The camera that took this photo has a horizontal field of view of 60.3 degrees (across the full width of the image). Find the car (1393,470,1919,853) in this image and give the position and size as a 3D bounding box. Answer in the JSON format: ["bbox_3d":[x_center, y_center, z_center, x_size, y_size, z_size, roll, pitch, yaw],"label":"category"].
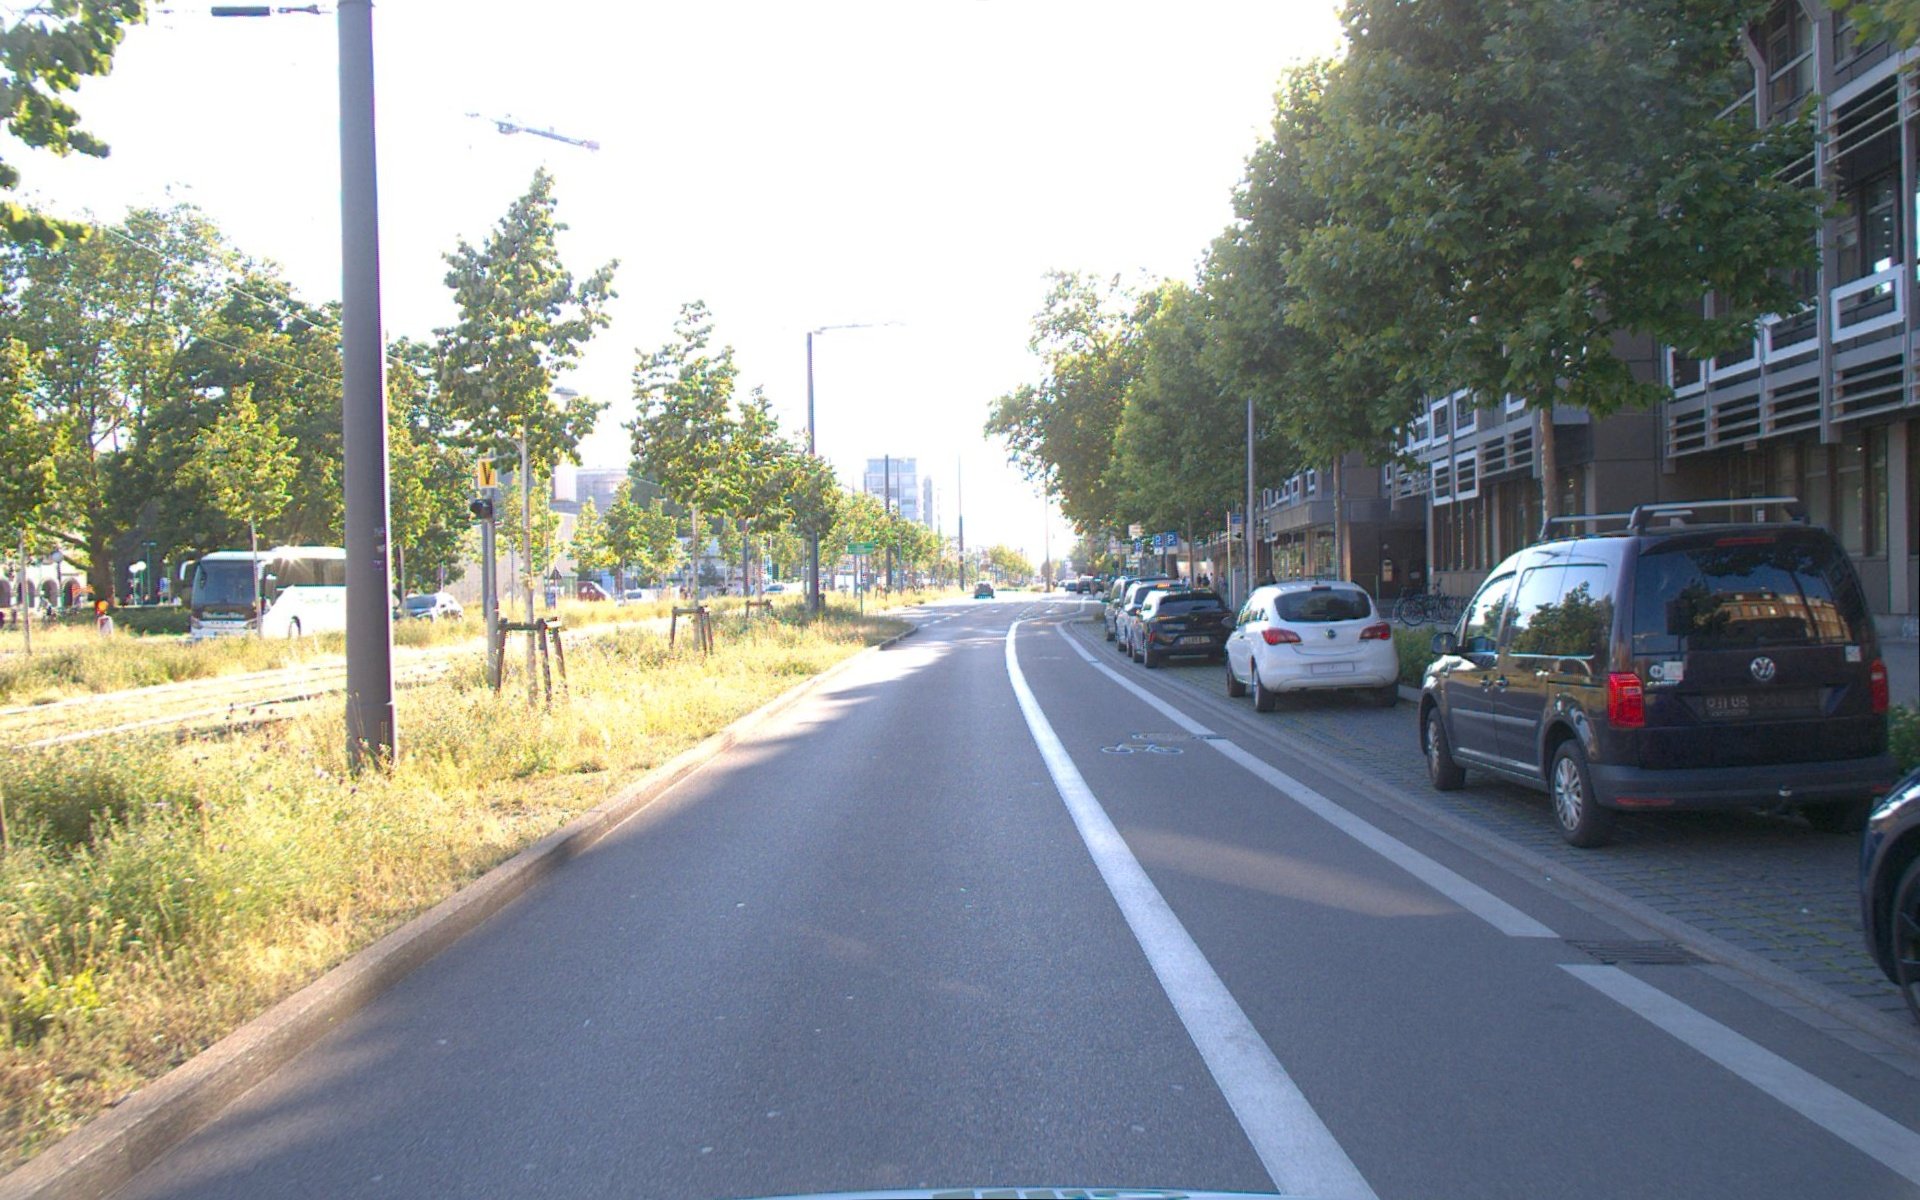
[{"bbox_3d":[4.384,0.286,11.016,1.699,1.952,4.393,-3,1,-1],"label":"car"}]

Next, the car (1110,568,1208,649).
[{"bbox_3d":[4.482,0.138,37.697,1.692,1.650,4.217,-3,1,1],"label":"car"}]

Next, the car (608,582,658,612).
[{"bbox_3d":[-18.805,-0.203,95.312,1.953,1.671,4.168,-1,1,2],"label":"car"}]

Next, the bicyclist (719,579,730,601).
[{"bbox_3d":[-19.126,-0.791,134.417,0.673,1.737,0.954,-1,1,4],"label":"bicyclist"}]

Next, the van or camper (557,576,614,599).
[{"bbox_3d":[-40.716,-1.363,179.857,5.540,2.456,2.156,-1,1,5],"label":"van or camper"}]

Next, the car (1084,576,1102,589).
[{"bbox_3d":[15.434,-2.026,192.463,1.900,1.510,3.927,-1,1,2],"label":"car"}]

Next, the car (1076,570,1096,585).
[{"bbox_3d":[13.338,-2.401,175.426,1.900,1.453,3.927,-1,1,2],"label":"car"}]

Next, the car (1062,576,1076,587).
[{"bbox_3d":[14.476,-2.466,219.960,1.722,1.510,3.851,-1,1,2],"label":"car"}]

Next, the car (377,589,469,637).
[{"bbox_3d":[-19.934,0.455,61.553,1.952,1.679,4.271,-1,1,1],"label":"car"}]

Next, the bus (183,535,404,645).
[{"bbox_3d":[-24.615,-0.426,62.137,2.741,3.657,12.702,-1,1,2],"label":"bus"}]

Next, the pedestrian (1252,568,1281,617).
[{"bbox_3d":[10.667,-0.273,57.529,0.773,1.677,1.137,-2,0,2],"label":"pedestrian"}]

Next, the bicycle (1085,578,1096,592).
[{"bbox_3d":[11.831,-1.347,149.643,0.783,1.225,2.264,-1,1,0],"label":"bicycle"}]

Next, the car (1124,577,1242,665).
[{"bbox_3d":[4.241,0.342,32.036,1.757,1.474,4.378,-3,1,2],"label":"car"}]

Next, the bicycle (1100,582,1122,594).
[{"bbox_3d":[11.932,-0.947,130.972,1.656,0.882,0.573,-3,0,12],"label":"bicycle"}]

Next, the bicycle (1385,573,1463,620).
[{"bbox_3d":[11.880,-0.096,42.336,1.862,1.112,0.392,-3,0,-4],"label":"bicycle"}]

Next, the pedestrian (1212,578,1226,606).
[{"bbox_3d":[17.960,-0.546,114.641,0.814,1.888,0.847,-1,1,3],"label":"pedestrian"}]

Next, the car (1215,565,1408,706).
[{"bbox_3d":[4.332,0.365,20.988,1.629,1.515,4.205,-3,1,2],"label":"car"}]

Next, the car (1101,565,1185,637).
[{"bbox_3d":[4.775,-0.013,43.633,1.692,1.717,4.515,-3,1,1],"label":"car"}]

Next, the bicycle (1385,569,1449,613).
[{"bbox_3d":[12.344,-0.243,44.668,1.593,1.101,0.392,-2,0,4],"label":"bicycle"}]

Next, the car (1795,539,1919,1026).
[{"bbox_3d":[4.271,0.588,3.898,1.894,1.626,4.695,-3,1,-5],"label":"car"}]

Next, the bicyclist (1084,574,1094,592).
[{"bbox_3d":[11.640,-1.549,149.510,0.784,1.629,0.785,-1,1,-1],"label":"bicyclist"}]

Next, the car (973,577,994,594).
[{"bbox_3d":[2.054,-1.322,145.524,1.740,1.453,4.002,0,1,2],"label":"car"}]
